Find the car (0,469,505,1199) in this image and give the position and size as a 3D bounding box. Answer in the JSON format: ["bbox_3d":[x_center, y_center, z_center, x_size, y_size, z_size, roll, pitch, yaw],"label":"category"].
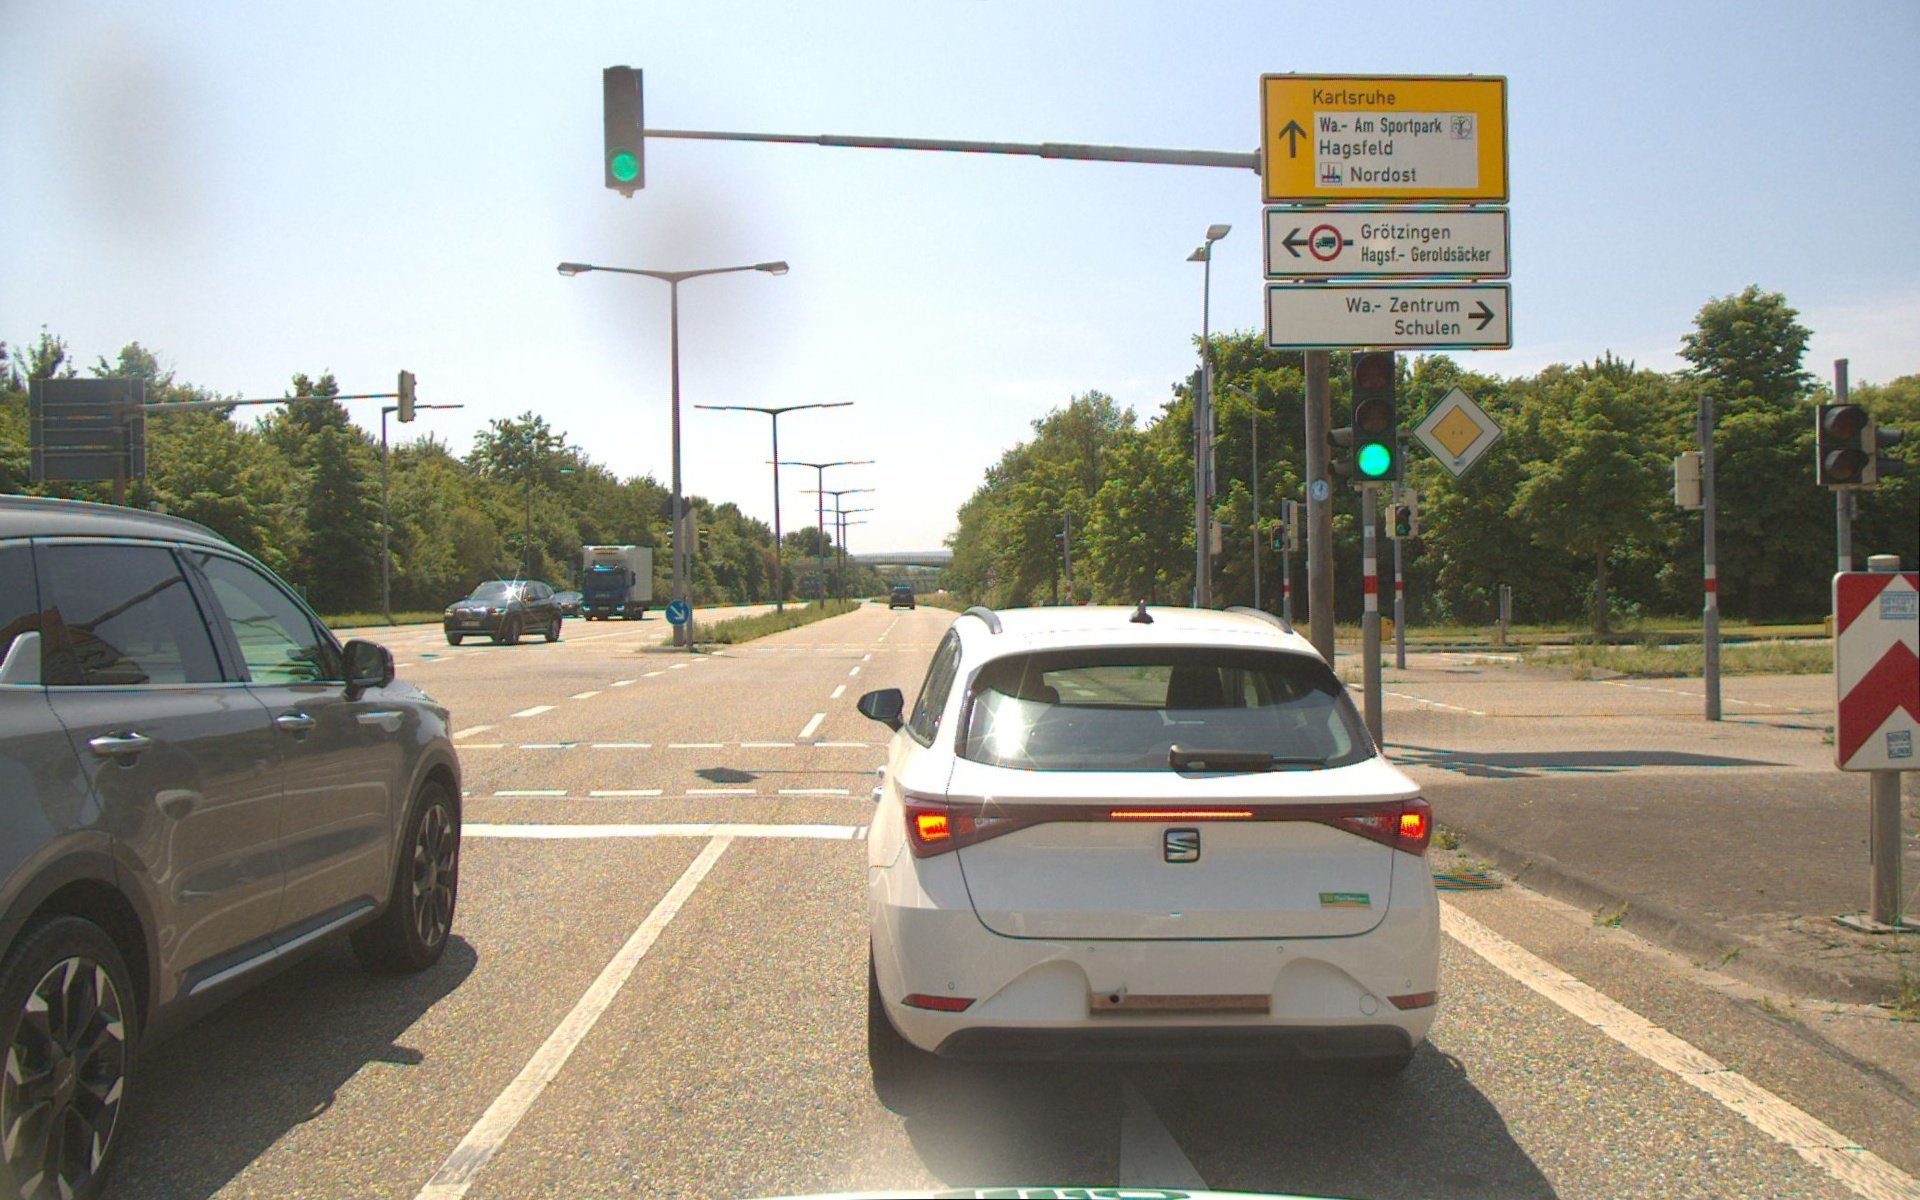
[{"bbox_3d":[-2.866,0.583,4.967,1.767,1.691,4.643,-1,0,-1],"label":"car"}]

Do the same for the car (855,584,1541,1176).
[{"bbox_3d":[0.572,0.711,5.978,1.699,1.453,3.693,1,0,-1],"label":"car"}]

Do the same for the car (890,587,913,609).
[{"bbox_3d":[-4.842,-0.183,136.381,1.817,1.738,3.999,-1,0,-2],"label":"car"}]

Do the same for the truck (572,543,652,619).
[{"bbox_3d":[-17.301,-0.926,82.713,2.633,3.633,7.265,0,0,-1],"label":"truck"}]

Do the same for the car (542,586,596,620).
[{"bbox_3d":[-21.021,0.149,89.139,1.785,1.762,4.925,-1,0,-1],"label":"car"}]

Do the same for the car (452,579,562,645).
[{"bbox_3d":[-12.313,0.283,45.226,1.671,1.692,4.224,-1,1,2],"label":"car"}]
